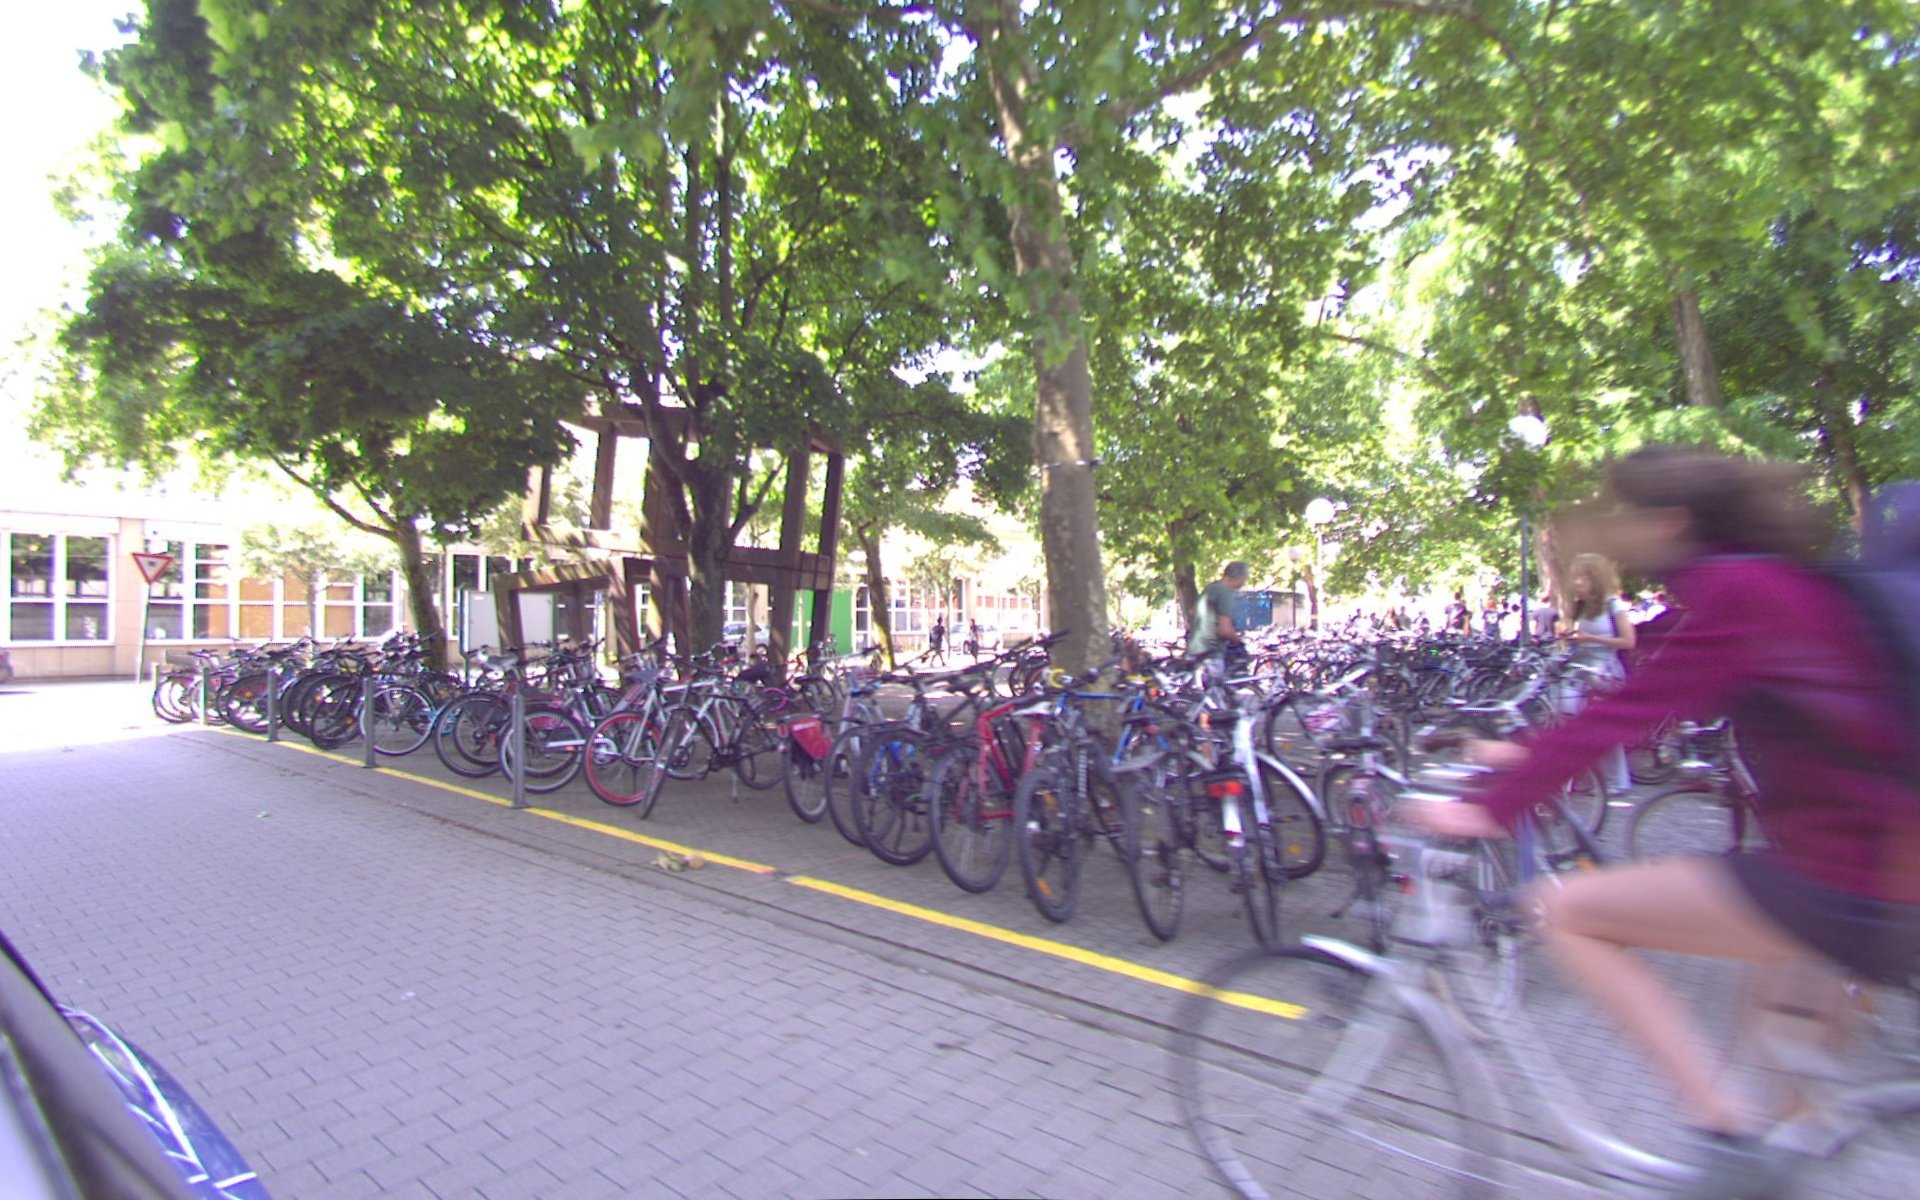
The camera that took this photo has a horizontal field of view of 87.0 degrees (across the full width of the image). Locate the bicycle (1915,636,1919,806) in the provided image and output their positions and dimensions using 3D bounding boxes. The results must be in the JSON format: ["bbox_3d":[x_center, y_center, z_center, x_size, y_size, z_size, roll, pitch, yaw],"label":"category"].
[{"bbox_3d":[7.019,0.764,6.464,1.671,1.092,0.475,-1,0,-13],"label":"bicycle"}]

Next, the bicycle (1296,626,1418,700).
[{"bbox_3d":[6.115,0.967,15.632,1.677,1.092,0.473,-1,0,4],"label":"bicycle"}]

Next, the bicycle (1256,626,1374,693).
[{"bbox_3d":[6.080,1.017,17.397,1.835,1.092,0.473,-1,0,4],"label":"bicycle"}]

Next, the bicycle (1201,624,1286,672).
[{"bbox_3d":[6.665,1.135,23.842,1.835,1.092,0.473,-1,0,4],"label":"bicycle"}]

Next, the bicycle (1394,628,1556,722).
[{"bbox_3d":[6.205,0.898,12.242,1.677,1.092,0.473,-1,0,4],"label":"bicycle"}]

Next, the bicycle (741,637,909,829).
[{"bbox_3d":[-0.884,0.851,7.110,0.493,1.116,1.731,-1,0,17],"label":"bicycle"}]

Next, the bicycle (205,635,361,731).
[{"bbox_3d":[-8.707,1.035,13.052,1.605,1.116,0.497,0,0,-44],"label":"bicycle"}]

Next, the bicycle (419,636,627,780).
[{"bbox_3d":[-3.824,0.907,8.914,1.603,1.116,0.498,-1,0,-35],"label":"bicycle"}]

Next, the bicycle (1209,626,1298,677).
[{"bbox_3d":[6.555,1.144,22.636,1.835,1.092,0.473,-1,0,4],"label":"bicycle"}]

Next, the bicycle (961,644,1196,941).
[{"bbox_3d":[0.645,0.811,4.926,0.495,1.116,1.682,-1,0,30],"label":"bicycle"}]

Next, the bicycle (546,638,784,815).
[{"bbox_3d":[-2.154,0.876,7.580,0.497,1.116,1.717,-1,0,41],"label":"bicycle"}]

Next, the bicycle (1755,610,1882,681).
[{"bbox_3d":[14.046,0.733,16.569,1.750,1.118,0.518,-1,0,-7],"label":"bicycle"}]

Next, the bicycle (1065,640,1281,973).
[{"bbox_3d":[1.028,0.790,4.567,0.472,1.154,1.683,-1,0,29],"label":"bicycle"}]

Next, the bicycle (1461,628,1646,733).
[{"bbox_3d":[6.451,0.870,11.045,1.677,1.092,0.473,-1,0,4],"label":"bicycle"}]

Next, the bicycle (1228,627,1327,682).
[{"bbox_3d":[6.419,1.102,20.537,1.835,1.092,0.473,-1,0,4],"label":"bicycle"}]

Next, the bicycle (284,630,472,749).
[{"bbox_3d":[-6.421,0.948,11.254,0.496,1.170,1.764,-1,0,36],"label":"bicycle"}]

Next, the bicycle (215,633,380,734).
[{"bbox_3d":[-8.192,0.994,12.546,1.605,1.116,0.691,0,0,-44],"label":"bicycle"}]

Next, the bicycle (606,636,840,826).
[{"bbox_3d":[-1.632,0.859,7.237,0.496,1.135,1.719,-1,0,36],"label":"bicycle"}]

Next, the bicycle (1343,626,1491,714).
[{"bbox_3d":[5.951,0.905,13.217,1.677,1.092,0.473,-1,0,4],"label":"bicycle"}]

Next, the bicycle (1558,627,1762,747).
[{"bbox_3d":[6.776,0.830,9.823,1.674,1.092,0.474,-1,0,-4],"label":"bicycle"}]

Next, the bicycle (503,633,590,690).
[{"bbox_3d":[-8.862,1.297,21.762,0.392,1.116,1.818,-1,0,34],"label":"bicycle"}]

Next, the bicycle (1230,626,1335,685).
[{"bbox_3d":[6.194,1.061,19.496,1.835,1.092,0.473,-1,0,4],"label":"bicycle"}]

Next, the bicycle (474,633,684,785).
[{"bbox_3d":[-3.232,0.881,8.667,1.603,1.152,0.498,-1,0,-35],"label":"bicycle"}]

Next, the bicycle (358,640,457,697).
[{"bbox_3d":[-12.256,1.488,22.459,1.854,1.181,0.807,1,-1,-32],"label":"bicycle"}]

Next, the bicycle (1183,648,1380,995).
[{"bbox_3d":[1.438,0.803,4.341,0.472,1.116,1.683,-1,0,29],"label":"bicycle"}]

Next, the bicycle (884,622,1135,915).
[{"bbox_3d":[0.329,0.755,5.294,0.495,1.245,1.721,-1,0,33],"label":"bicycle"}]

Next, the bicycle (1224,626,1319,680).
[{"bbox_3d":[6.611,1.123,21.511,1.835,1.092,0.473,-1,0,4],"label":"bicycle"}]

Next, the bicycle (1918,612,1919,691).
[{"bbox_3d":[14.374,0.710,14.070,1.750,1.118,0.518,-1,0,-7],"label":"bicycle"}]

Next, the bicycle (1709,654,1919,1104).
[{"bbox_3d":[3.020,0.786,3.418,0.563,1.116,1.682,-1,0,29],"label":"bicycle"}]

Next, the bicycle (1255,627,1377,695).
[{"bbox_3d":[5.916,1.010,16.850,1.835,1.092,0.473,-1,0,4],"label":"bicycle"}]

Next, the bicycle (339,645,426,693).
[{"bbox_3d":[-14.605,1.727,25.613,0.605,1.116,1.805,1,-1,42],"label":"bicycle"}]

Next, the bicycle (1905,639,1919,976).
[{"bbox_3d":[3.248,0.740,2.837,0.472,1.196,1.682,-1,0,29],"label":"bicycle"}]

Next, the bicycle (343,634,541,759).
[{"bbox_3d":[-5.276,0.937,10.353,1.699,1.116,0.720,-1,0,-39],"label":"bicycle"}]

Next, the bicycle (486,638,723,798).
[{"bbox_3d":[-2.832,0.892,8.130,1.711,1.116,0.576,-1,0,-30],"label":"bicycle"}]

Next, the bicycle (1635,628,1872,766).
[{"bbox_3d":[6.708,0.801,8.585,1.674,1.092,0.474,-1,0,-4],"label":"bicycle"}]

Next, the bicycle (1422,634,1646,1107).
[{"bbox_3d":[2.053,0.753,3.567,0.535,1.207,1.681,-1,0,32],"label":"bicycle"}]

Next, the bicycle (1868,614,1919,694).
[{"bbox_3d":[14.348,0.769,14.829,1.750,1.118,0.518,-1,0,-7],"label":"bicycle"}]

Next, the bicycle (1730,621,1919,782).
[{"bbox_3d":[6.621,0.717,7.509,1.671,1.092,0.475,-1,0,-13],"label":"bicycle"}]

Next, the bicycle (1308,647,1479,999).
[{"bbox_3d":[1.892,0.798,4.298,0.472,1.116,1.682,-1,0,29],"label":"bicycle"}]

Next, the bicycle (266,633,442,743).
[{"bbox_3d":[-6.929,0.964,11.636,0.644,1.116,1.610,-1,0,36],"label":"bicycle"}]

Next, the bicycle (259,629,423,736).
[{"bbox_3d":[-7.441,0.959,12.220,0.497,1.159,1.607,-1,0,41],"label":"bicycle"}]

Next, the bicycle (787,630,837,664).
[{"bbox_3d":[-5.181,1.636,35.549,0.639,1.116,1.797,0,-1,37],"label":"bicycle"}]

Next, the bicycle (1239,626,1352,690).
[{"bbox_3d":[5.991,1.033,18.114,1.835,1.092,0.473,-1,0,4],"label":"bicycle"}]

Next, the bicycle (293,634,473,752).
[{"bbox_3d":[-6.130,0.950,10.832,0.496,1.116,1.610,-1,0,36],"label":"bicycle"}]

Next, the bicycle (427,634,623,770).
[{"bbox_3d":[-4.050,0.909,9.474,1.603,1.116,0.564,-1,0,-35],"label":"bicycle"}]

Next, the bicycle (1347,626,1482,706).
[{"bbox_3d":[6.494,0.940,14.503,1.677,1.092,0.473,-1,0,4],"label":"bicycle"}]

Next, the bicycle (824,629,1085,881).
[{"bbox_3d":[0.034,0.788,5.810,0.496,1.187,1.717,-1,0,40],"label":"bicycle"}]

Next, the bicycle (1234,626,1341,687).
[{"bbox_3d":[6.122,1.055,18.972,1.835,1.092,0.473,-1,0,4],"label":"bicycle"}]

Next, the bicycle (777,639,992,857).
[{"bbox_3d":[-0.406,0.835,6.358,0.495,1.116,1.724,-1,0,28],"label":"bicycle"}]

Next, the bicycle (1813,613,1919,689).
[{"bbox_3d":[14.239,0.782,15.655,1.750,1.118,0.518,-1,0,-7],"label":"bicycle"}]
